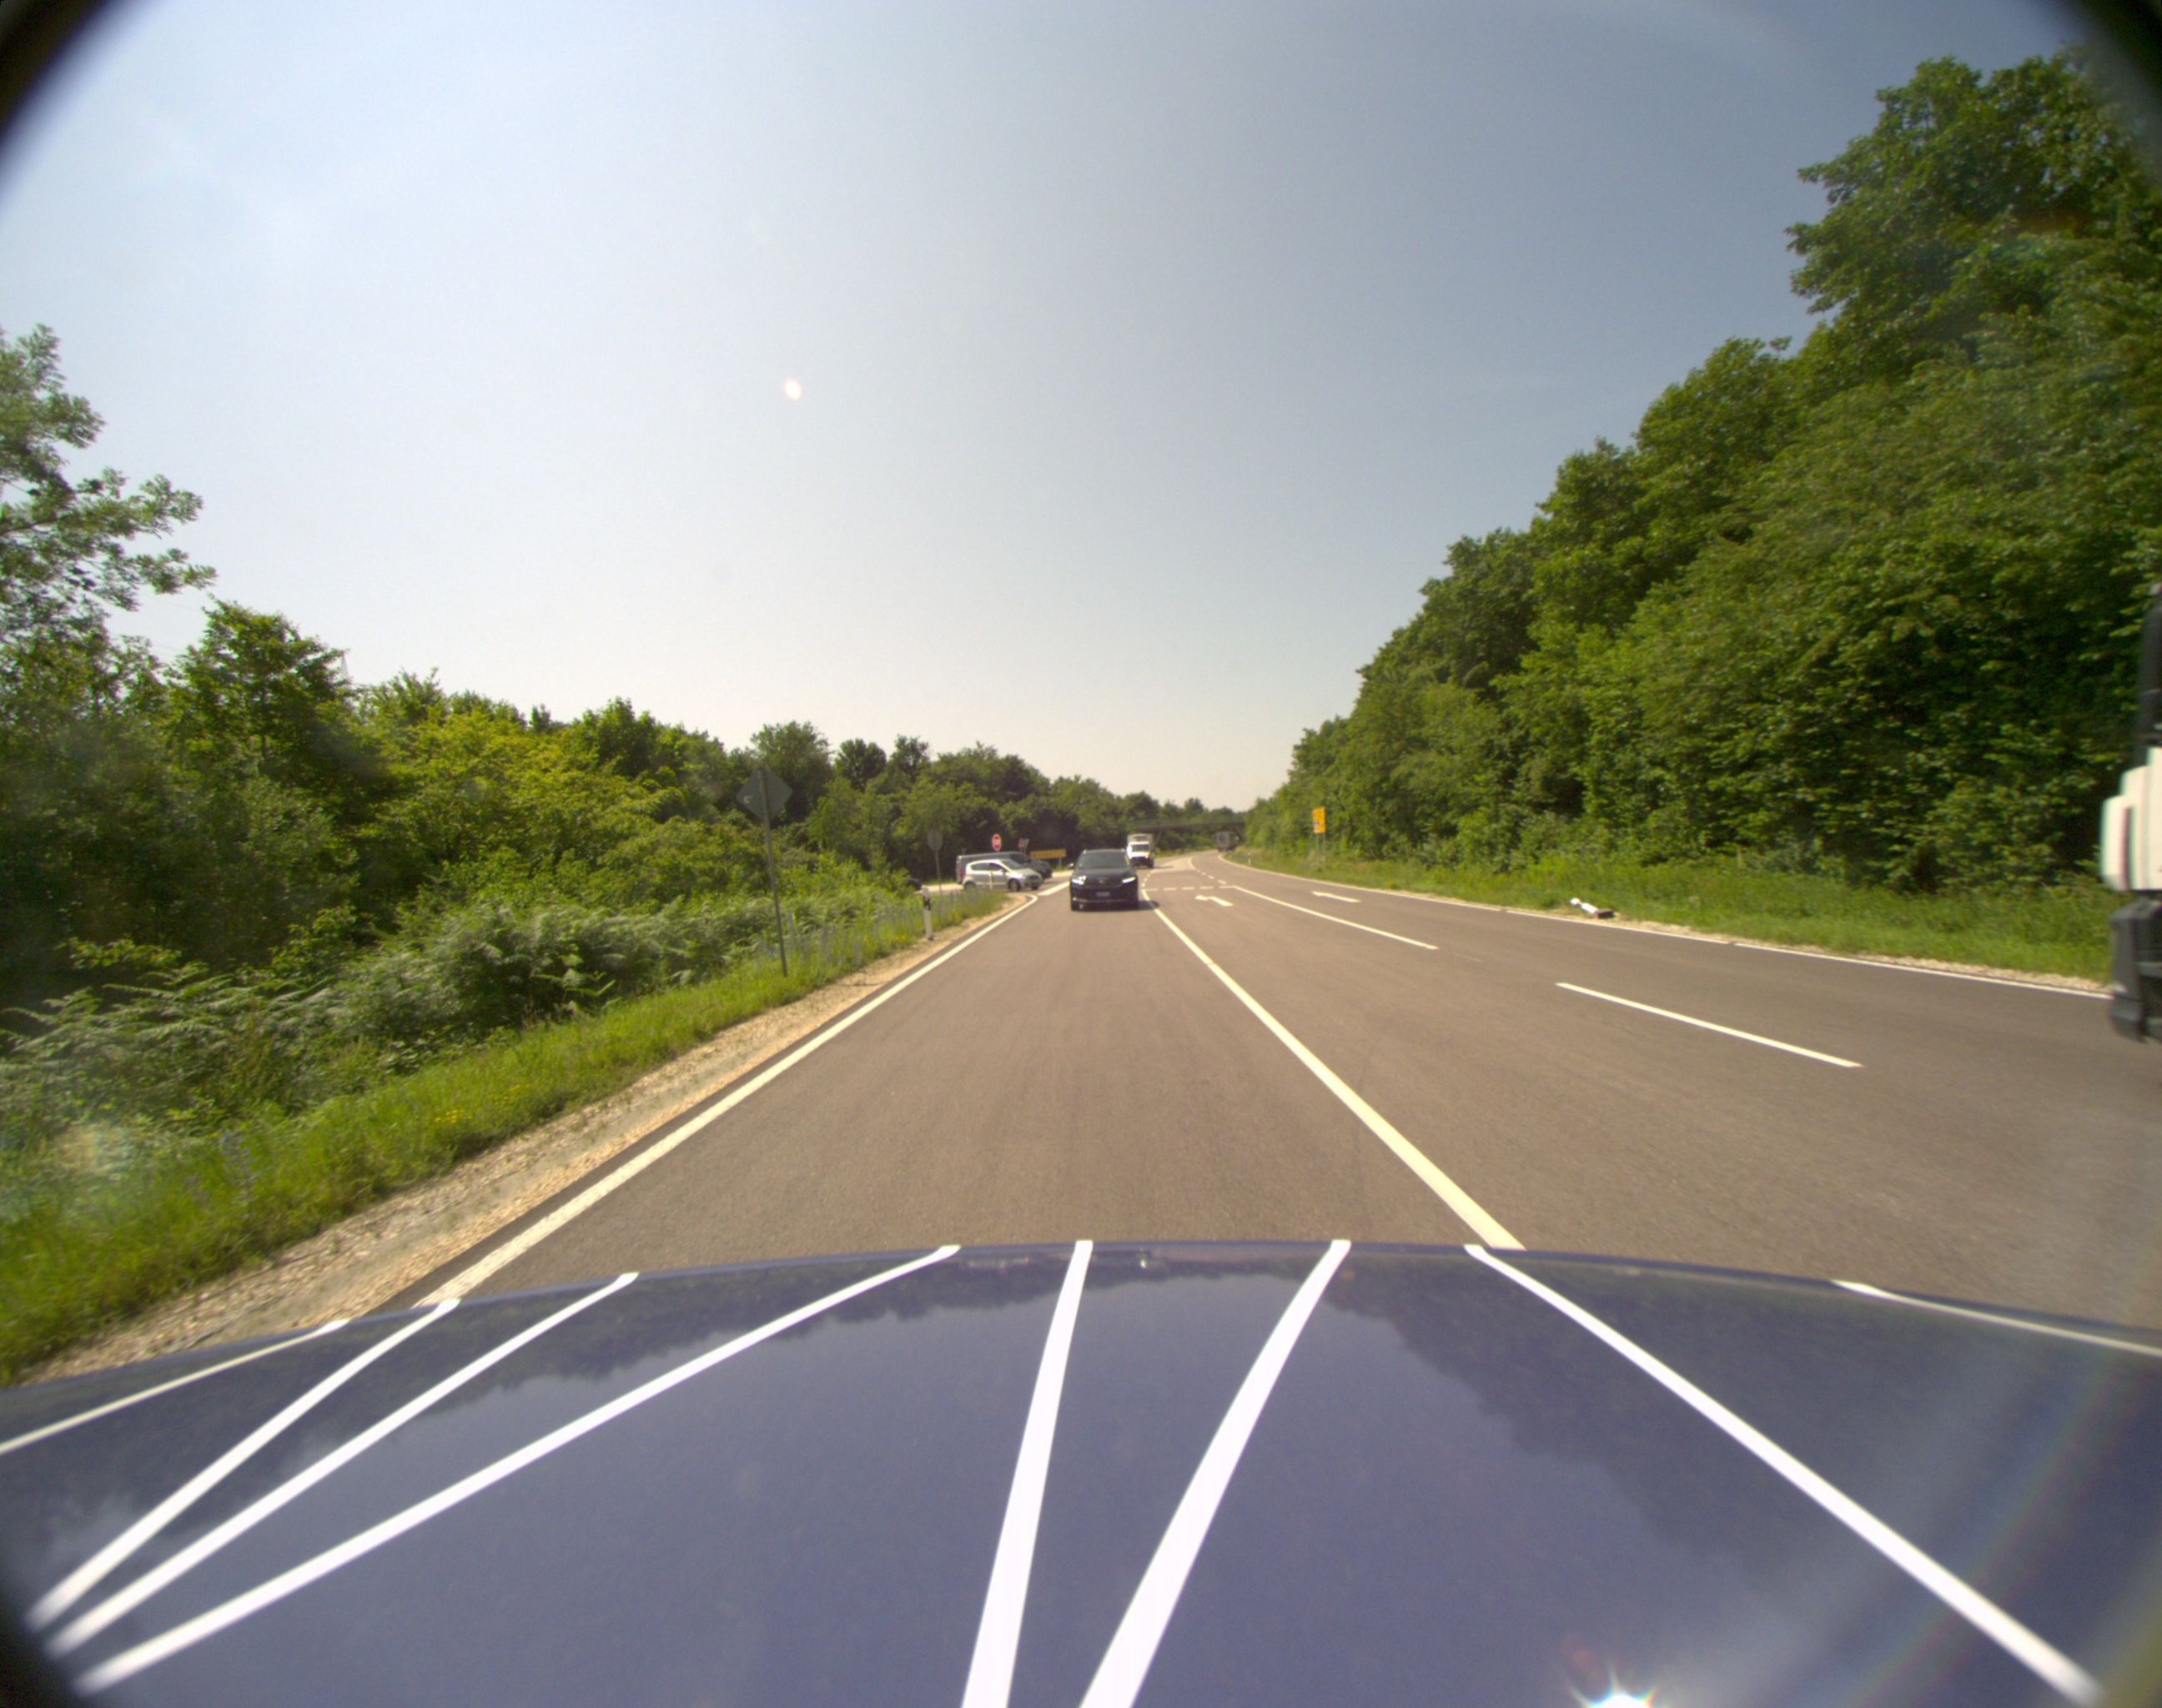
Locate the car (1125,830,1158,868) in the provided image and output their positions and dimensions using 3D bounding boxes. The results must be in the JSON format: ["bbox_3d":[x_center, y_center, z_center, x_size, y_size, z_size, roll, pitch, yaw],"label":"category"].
[{"bbox_3d":[5.305,-0.481,65.601,2.591,3.047,6.883,-2,1,5],"label":"car"}]

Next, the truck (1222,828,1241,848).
[{"bbox_3d":[33.222,-3.521,167.567,2.801,4.072,11.075,-2,1,18],"label":"truck"}]

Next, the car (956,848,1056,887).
[{"bbox_3d":[-4.207,0.712,42.323,5.232,1.896,2.011,-2,1,-13],"label":"car"}]

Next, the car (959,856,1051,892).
[{"bbox_3d":[-3.602,0.966,36.060,3.983,1.570,1.849,-2,-1,31],"label":"car"}]

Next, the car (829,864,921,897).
[{"bbox_3d":[-10.990,1.377,40.569,4.567,1.465,1.865,-3,0,-19],"label":"car"}]

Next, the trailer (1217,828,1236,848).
[{"bbox_3d":[30.548,-3.340,159.287,2.832,4.072,9.011,-2,1,18],"label":"trailer"}]

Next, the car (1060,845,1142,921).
[{"bbox_3d":[0.677,0.677,21.033,1.923,1.711,5.479,-2,1,4],"label":"car"}]
